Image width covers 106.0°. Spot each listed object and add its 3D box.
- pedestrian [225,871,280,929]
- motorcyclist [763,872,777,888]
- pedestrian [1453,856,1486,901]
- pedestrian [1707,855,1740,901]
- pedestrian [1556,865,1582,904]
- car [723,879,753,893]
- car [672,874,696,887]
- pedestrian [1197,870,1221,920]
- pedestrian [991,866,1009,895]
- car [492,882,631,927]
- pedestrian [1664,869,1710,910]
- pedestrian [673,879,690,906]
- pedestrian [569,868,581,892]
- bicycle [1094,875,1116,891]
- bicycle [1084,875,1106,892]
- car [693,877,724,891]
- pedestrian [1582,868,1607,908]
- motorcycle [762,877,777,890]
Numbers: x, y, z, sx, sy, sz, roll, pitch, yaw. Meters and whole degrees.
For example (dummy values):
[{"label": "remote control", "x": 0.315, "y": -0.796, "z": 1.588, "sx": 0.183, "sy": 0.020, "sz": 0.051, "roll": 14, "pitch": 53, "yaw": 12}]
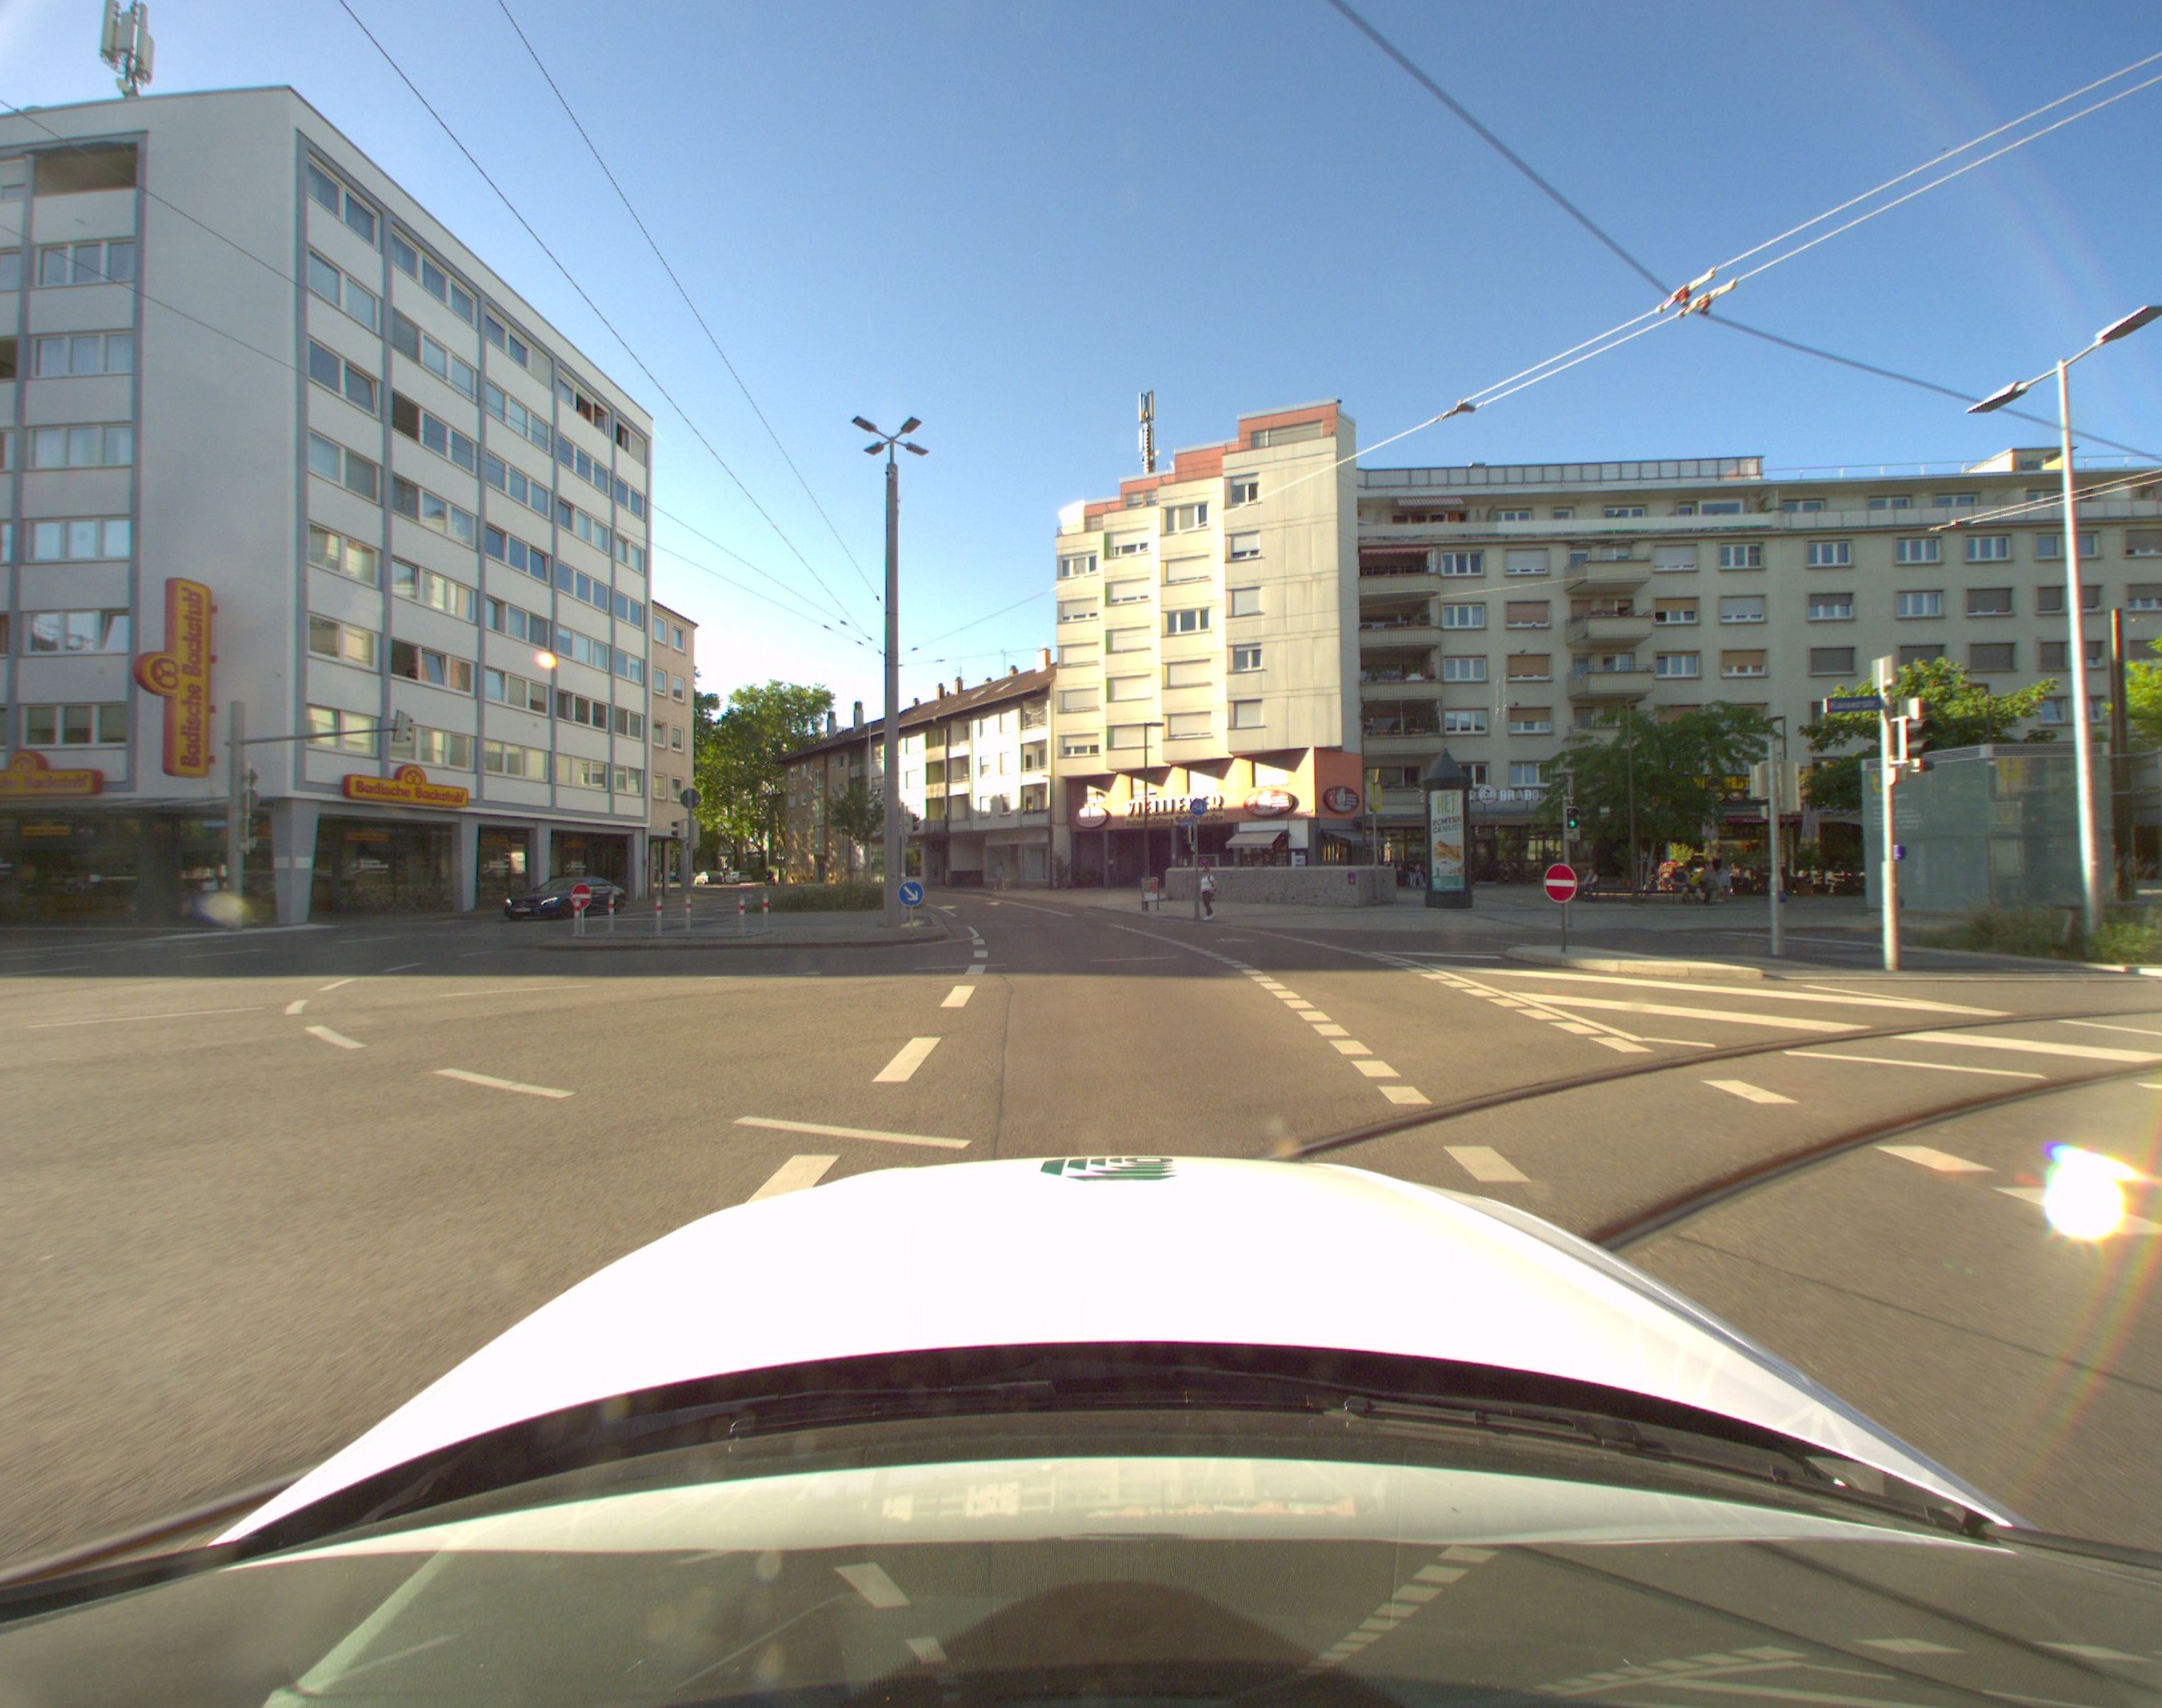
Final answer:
[{"label": "pedestrian", "x": -24.957, "y": 1.374, "z": 24.543, "sx": 0.801, "sy": 1.724, "sz": 0.777, "roll": -1, "pitch": -2, "yaw": 4}, {"label": "motorcyclist", "x": -27.550, "y": 2.308, "z": 72.104, "sx": 0.972, "sy": 1.347, "sz": 1.132, "roll": 1, "pitch": -2, "yaw": -15}, {"label": "pedestrian", "x": 16.179, "y": 1.017, "z": 33.927, "sx": 1.036, "sy": 1.866, "sz": 0.688, "roll": -1, "pitch": -2, "yaw": 6}, {"label": "pedestrian", "x": 24.982, "y": 0.918, "z": 31.670, "sx": 0.680, "sy": 1.746, "sz": 0.716, "roll": -1, "pitch": -2, "yaw": -7}, {"label": "pedestrian", "x": 18.489, "y": 1.158, "z": 30.852, "sx": 0.711, "sy": 1.446, "sz": 0.935, "roll": -1, "pitch": -1, "yaw": 39}, {"label": "car", "x": -39.866, "y": 3.692, "z": 94.620, "sx": 2.050, "sy": 1.504, "sz": 4.044, "roll": 0, "pitch": -1, "yaw": -41}, {"label": "car", "x": -54.925, "y": 3.640, "z": 112.600, "sx": 2.050, "sy": 1.719, "sz": 4.044, "roll": 0, "pitch": -1, "yaw": -41}, {"label": "pedestrian", "x": 4.144, "y": 1.326, "z": 26.389, "sx": 0.543, "sy": 1.584, "sz": 0.551, "roll": 1, "pitch": -2, "yaw": -39}, {"label": "pedestrian", "x": -5.322, "y": 1.751, "z": 53.552, "sx": 0.737, "sy": 1.854, "sz": 0.937, "roll": -3, "pitch": 0, "yaw": -42}, {"label": "car", "x": -17.974, "y": 1.702, "z": 28.473, "sx": 1.826, "sy": 1.386, "sz": 4.596, "roll": -1, "pitch": -2, "yaw": 1}, {"label": "pedestrian", "x": 20.894, "y": 1.207, "z": 28.092, "sx": 0.717, "sy": 1.365, "sz": 1.107, "roll": -1, "pitch": -1, "yaw": -4}, {"label": "pedestrian", "x": -25.729, "y": 2.492, "z": 52.449, "sx": 0.812, "sy": 1.724, "sz": 0.766, "roll": 1, "pitch": -2, "yaw": -44}, {"label": "pedestrian", "x": -38.501, "y": 1.989, "z": 61.963, "sx": 0.619, "sy": 1.796, "sz": 0.647, "roll": 1, "pitch": -3, "yaw": -44}, {"label": "bicycle", "x": 1.544, "y": 1.872, "z": 52.941, "sx": 0.498, "sy": 1.038, "sz": 1.619, "roll": 1, "pitch": -2, "yaw": -41}, {"label": "bicycle", "x": 0.891, "y": 1.878, "z": 52.297, "sx": 0.498, "sy": 1.038, "sz": 1.619, "roll": 1, "pitch": -2, "yaw": -41}, {"label": "car", "x": -39.738, "y": 3.174, "z": 86.855, "sx": 1.940, "sy": 1.389, "sz": 3.952, "roll": 1, "pitch": -2, "yaw": -42}, {"label": "pedestrian", "x": 18.898, "y": 1.247, "z": 29.950, "sx": 0.711, "sy": 1.420, "sz": 0.935, "roll": -1, "pitch": -1, "yaw": 35}, {"label": "motorcycle", "x": -27.542, "y": 2.628, "z": 72.065, "sx": 0.975, "sy": 1.132, "sz": 2.790, "roll": 1, "pitch": -1, "yaw": -15}]
